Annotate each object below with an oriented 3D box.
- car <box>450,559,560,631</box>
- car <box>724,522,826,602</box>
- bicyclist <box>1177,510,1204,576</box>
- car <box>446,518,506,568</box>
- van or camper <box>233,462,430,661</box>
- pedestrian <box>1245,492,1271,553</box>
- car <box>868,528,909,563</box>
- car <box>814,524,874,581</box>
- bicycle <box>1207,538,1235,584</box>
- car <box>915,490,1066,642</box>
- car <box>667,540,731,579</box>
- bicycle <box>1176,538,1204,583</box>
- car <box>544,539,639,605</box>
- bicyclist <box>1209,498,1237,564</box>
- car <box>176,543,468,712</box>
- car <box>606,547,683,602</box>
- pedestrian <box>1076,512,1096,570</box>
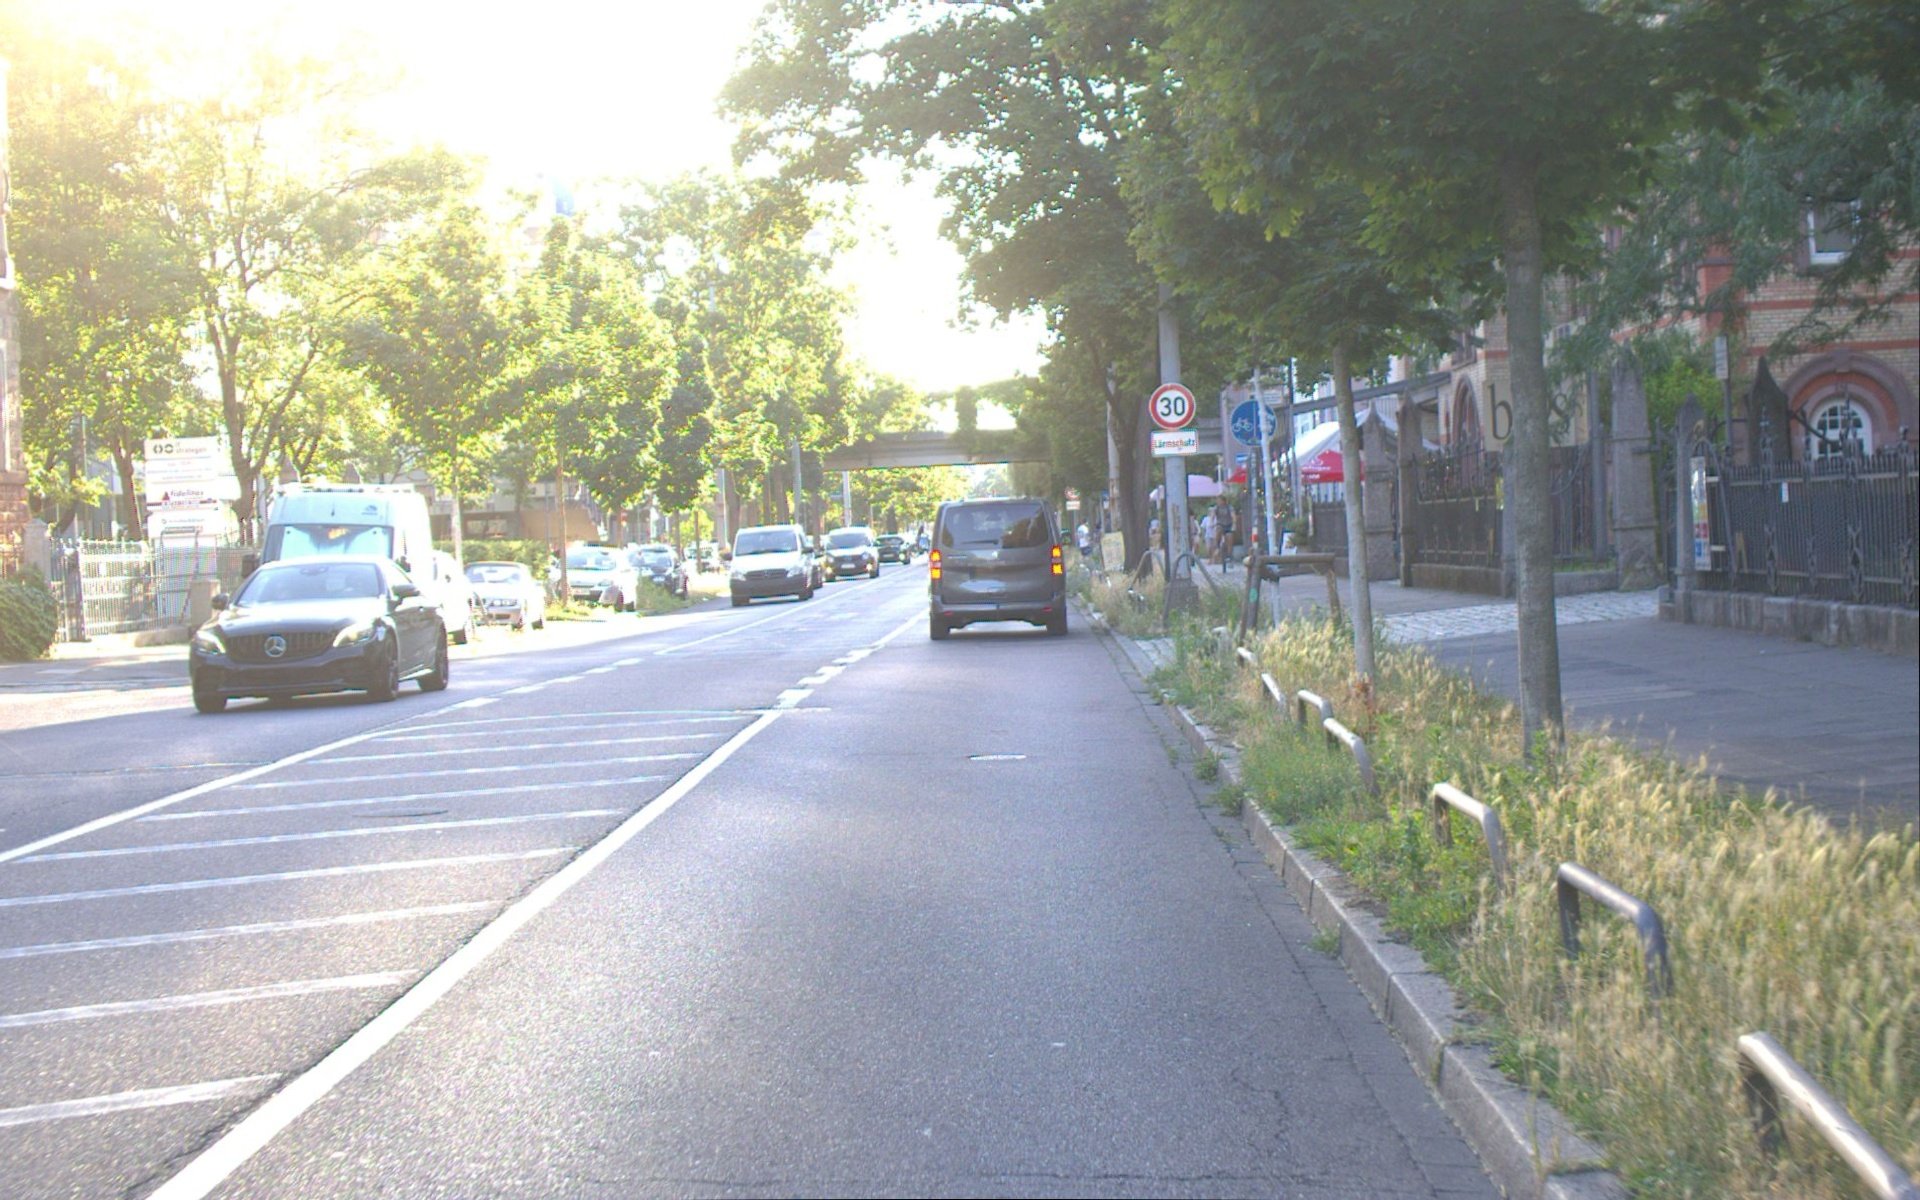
[{"bbox_3d":[-8.357,-0.103,63.319,1.536,1.244,3.614,0,1,0],"label":"car"},{"bbox_3d":[-4.564,-0.977,85.608,1.994,1.825,5.169,-3,1,2],"label":"car"},{"bbox_3d":[5.396,-1.341,80.503,0.595,1.527,0.893,0,1,1],"label":"bicyclist"},{"bbox_3d":[-22.864,-2.707,162.642,1.993,2.300,5.245,0,1,1],"label":"car"},{"bbox_3d":[-8.896,-0.584,49.151,1.993,2.659,6.039,0,1,-3],"label":"van or camper"},{"bbox_3d":[7.922,-2.062,91.373,0.644,1.627,0.656,0,1,2],"label":"pedestrian"},{"bbox_3d":[-3.399,-2.614,163.679,1.679,1.524,4.000,-4,1,1],"label":"car"},{"bbox_3d":[-4.023,-1.678,120.030,1.833,1.846,4.474,-3,1,0],"label":"car"},{"bbox_3d":[6.062,-0.905,79.795,0.517,1.036,2.089,0,1,1],"label":"bicycle"},{"bbox_3d":[0.463,-0.503,47.353,1.887,1.918,3.839,-3,1,2],"label":"car"},{"bbox_3d":[-9.830,-1.550,129.925,1.993,1.409,4.237,0,1,1],"label":"car"},{"bbox_3d":[5.388,-0.928,80.448,0.544,1.036,2.089,0,1,1],"label":"bicycle"},{"bbox_3d":[-8.369,-0.659,78.331,1.697,1.446,4.000,0,1,0],"label":"car"},{"bbox_3d":[6.120,-1.610,79.919,0.595,1.527,0.893,0,1,1],"label":"bicyclist"},{"bbox_3d":[-6.009,0.209,32.890,1.766,1.397,4.545,-2,1,2],"label":"car"},{"bbox_3d":[-8.321,-0.690,90.893,1.638,1.381,4.000,0,1,0],"label":"car"},{"bbox_3d":[4.117,-1.920,112.150,0.504,1.882,0.545,-1,1,-13],"label":"pedestrian"}]
